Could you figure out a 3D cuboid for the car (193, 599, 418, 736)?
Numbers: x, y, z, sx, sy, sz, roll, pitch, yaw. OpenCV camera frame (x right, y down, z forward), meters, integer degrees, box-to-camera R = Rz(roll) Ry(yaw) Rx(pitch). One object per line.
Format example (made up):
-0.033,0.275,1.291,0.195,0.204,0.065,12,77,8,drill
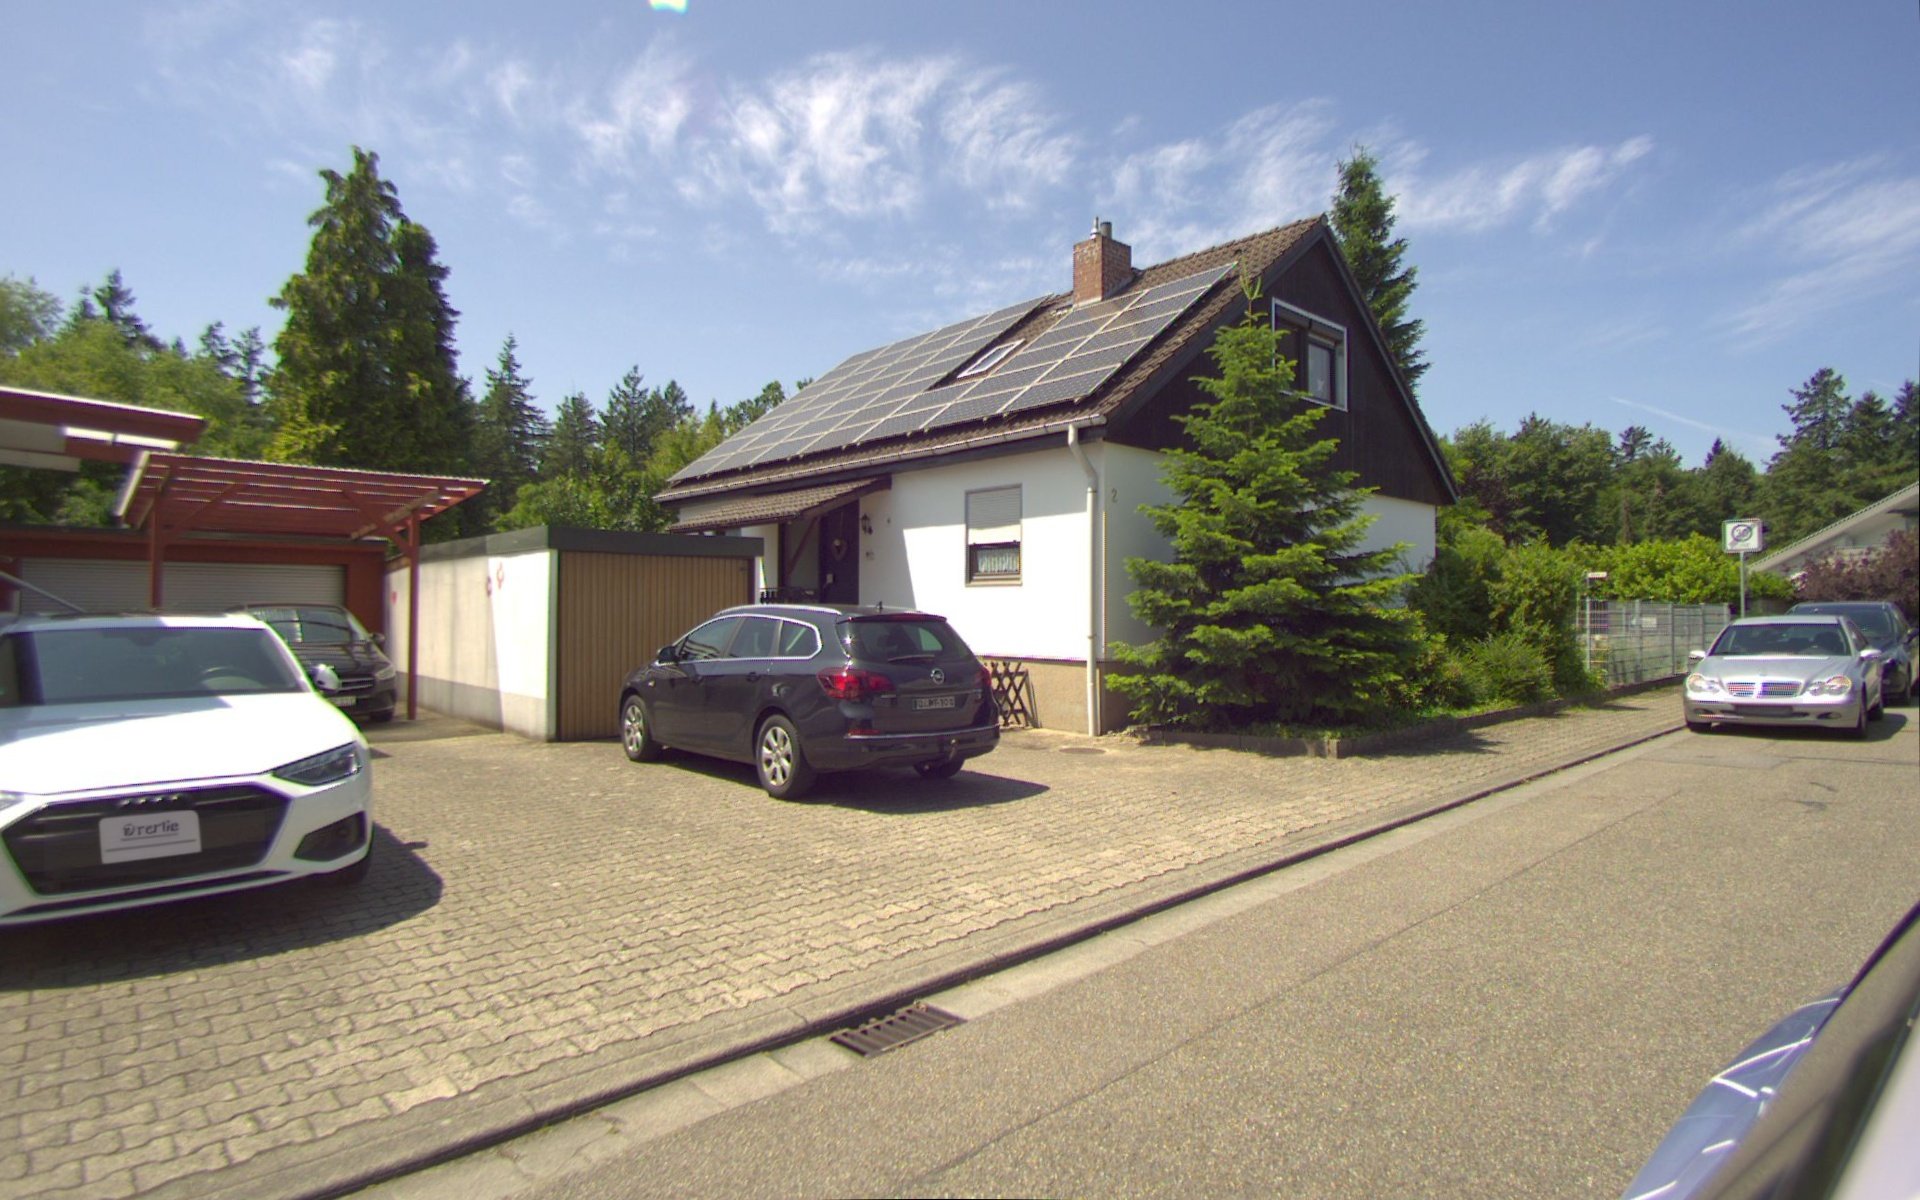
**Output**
-9.052,0.787,13.862,1.840,1.587,4.059,0,0,-44,car

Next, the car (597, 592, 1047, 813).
-1.438,0.709,9.124,1.966,1.505,4.245,1,-1,-43,car

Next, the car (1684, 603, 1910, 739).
10.991,0.785,13.182,4.263,1.478,1.688,0,0,-42,car

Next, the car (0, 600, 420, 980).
-4.705,0.730,5.814,1.917,1.414,4.545,1,-1,-40,car

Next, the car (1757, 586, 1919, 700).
15.269,0.653,17.220,4.602,1.683,1.965,1,-1,-42,car
